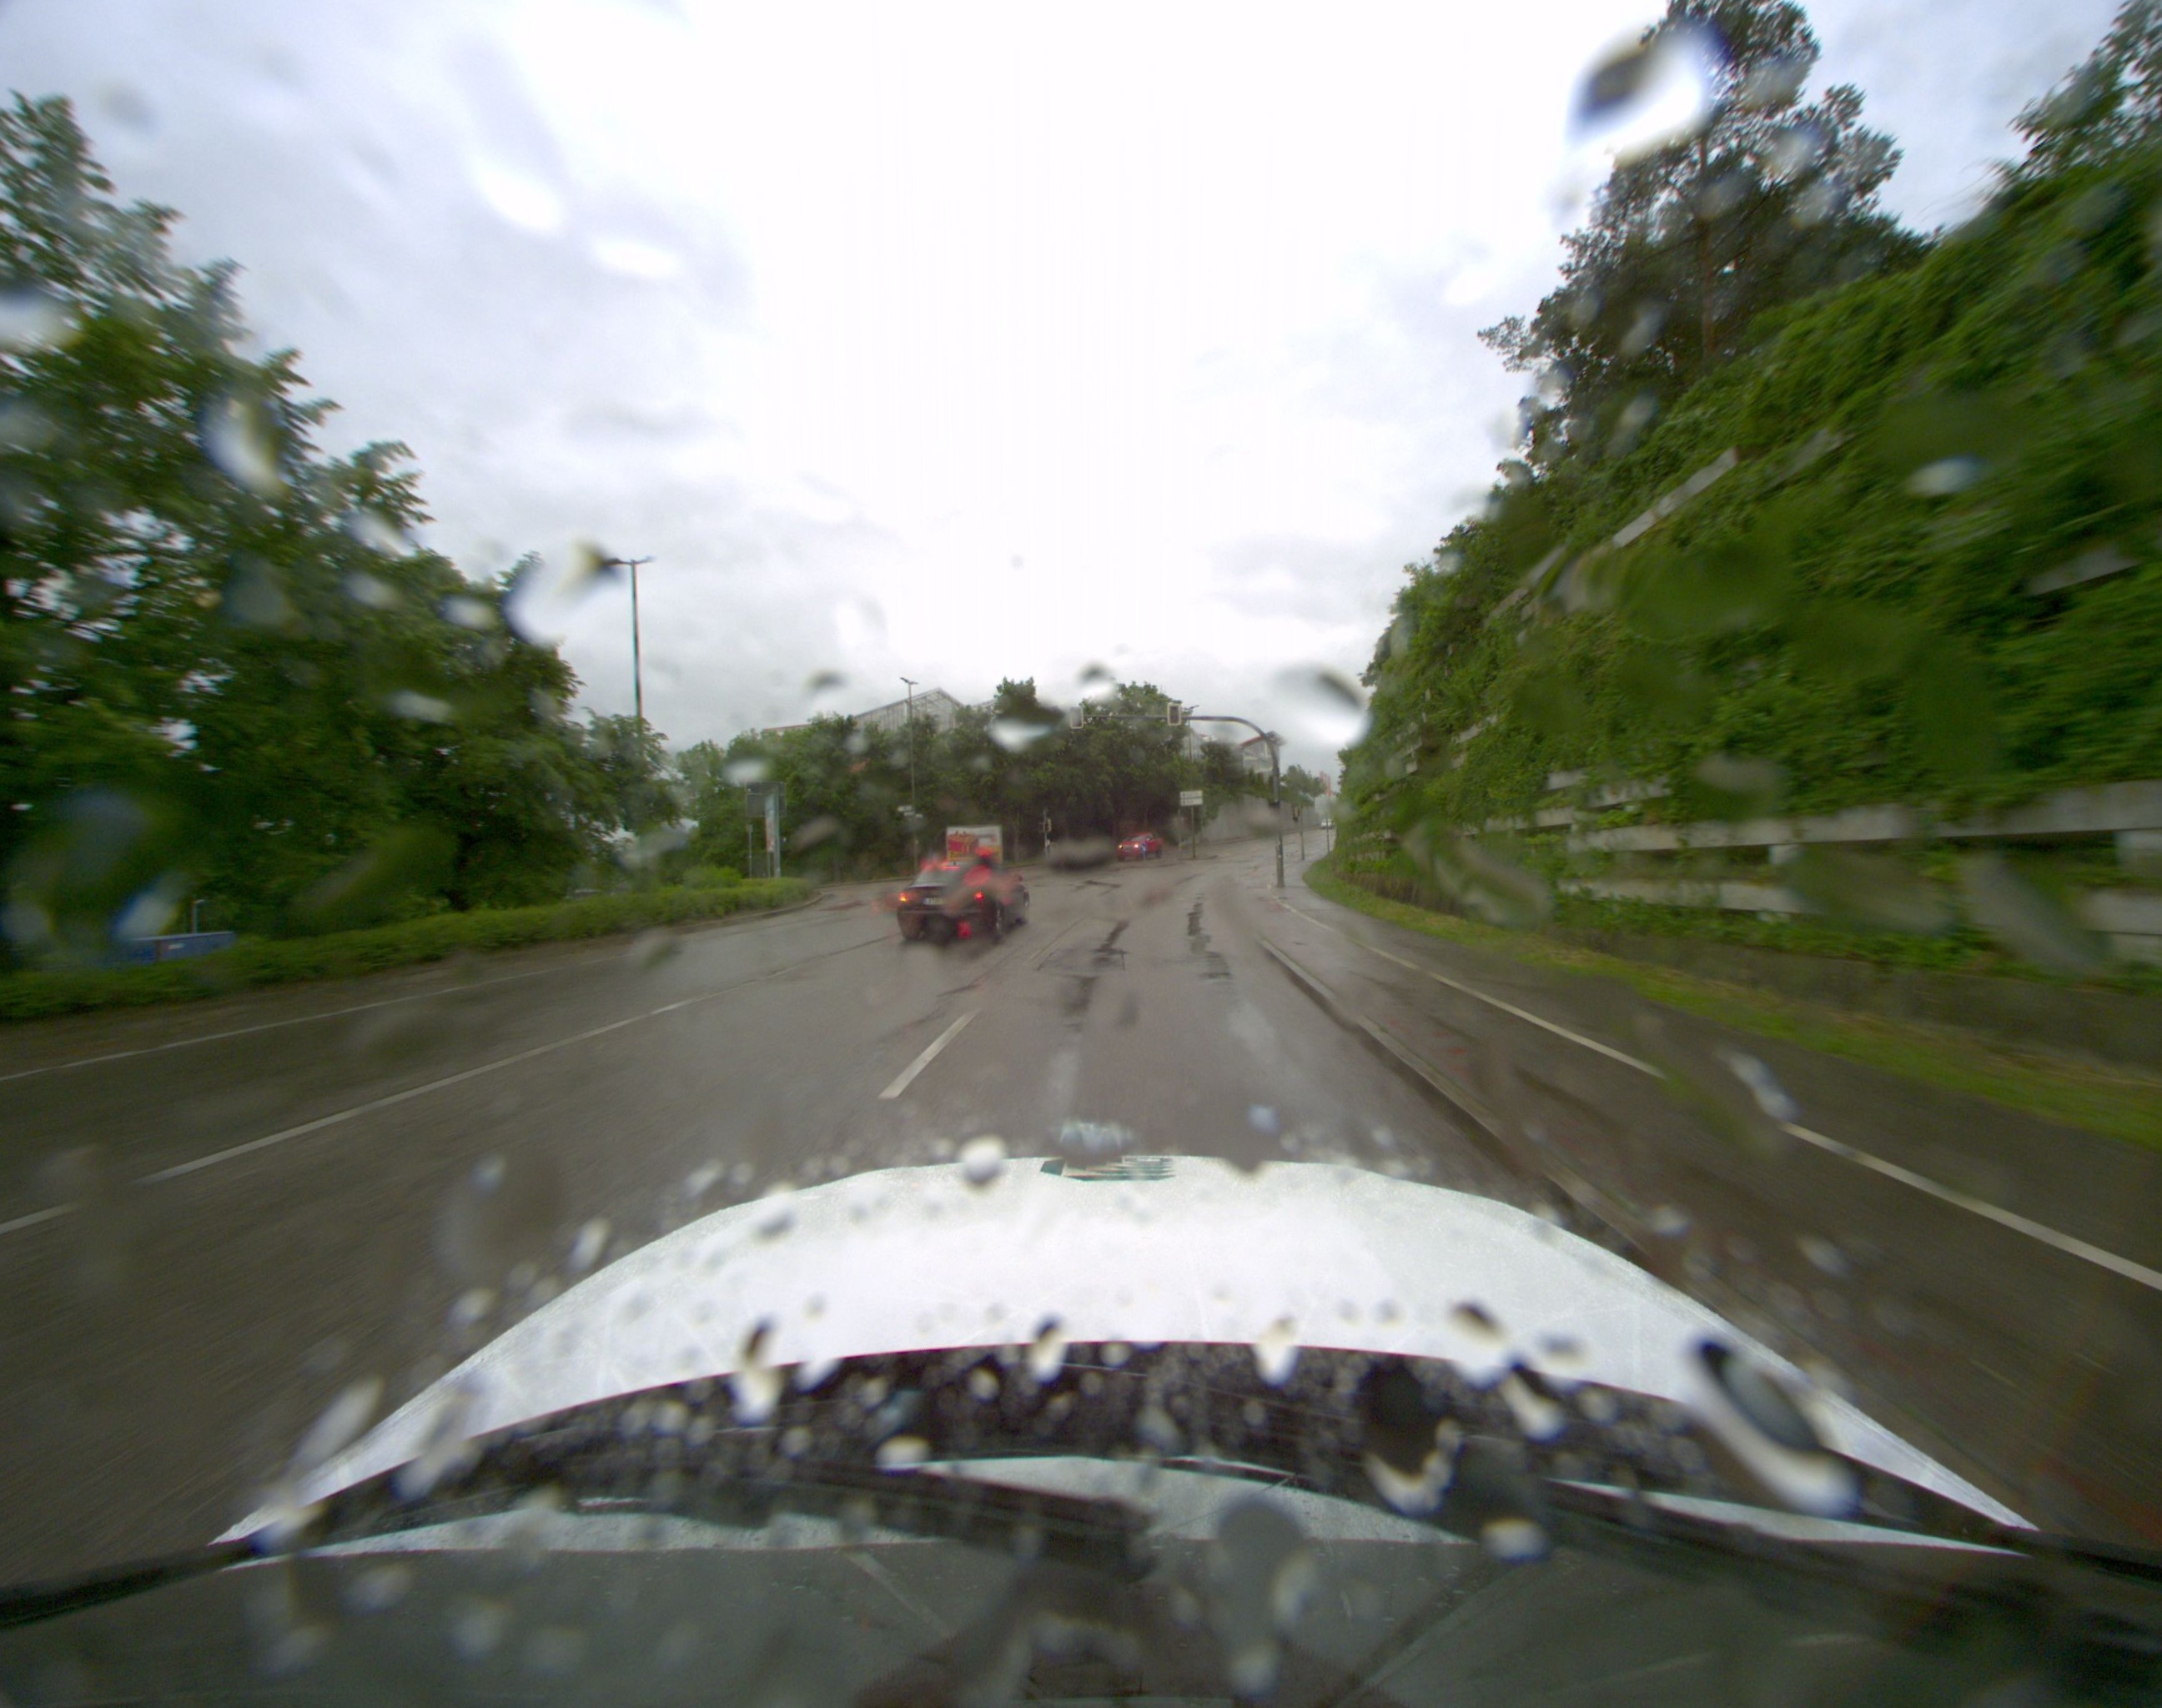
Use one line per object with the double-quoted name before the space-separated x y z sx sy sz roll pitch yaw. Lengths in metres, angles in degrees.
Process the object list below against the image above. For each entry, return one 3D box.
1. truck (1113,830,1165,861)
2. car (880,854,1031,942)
"truck" 4.207 -0.661 57.899 1.976 2.013 5.369 -1 2 23
"car" -2.221 0.730 15.505 1.745 1.395 4.009 -1 0 7
